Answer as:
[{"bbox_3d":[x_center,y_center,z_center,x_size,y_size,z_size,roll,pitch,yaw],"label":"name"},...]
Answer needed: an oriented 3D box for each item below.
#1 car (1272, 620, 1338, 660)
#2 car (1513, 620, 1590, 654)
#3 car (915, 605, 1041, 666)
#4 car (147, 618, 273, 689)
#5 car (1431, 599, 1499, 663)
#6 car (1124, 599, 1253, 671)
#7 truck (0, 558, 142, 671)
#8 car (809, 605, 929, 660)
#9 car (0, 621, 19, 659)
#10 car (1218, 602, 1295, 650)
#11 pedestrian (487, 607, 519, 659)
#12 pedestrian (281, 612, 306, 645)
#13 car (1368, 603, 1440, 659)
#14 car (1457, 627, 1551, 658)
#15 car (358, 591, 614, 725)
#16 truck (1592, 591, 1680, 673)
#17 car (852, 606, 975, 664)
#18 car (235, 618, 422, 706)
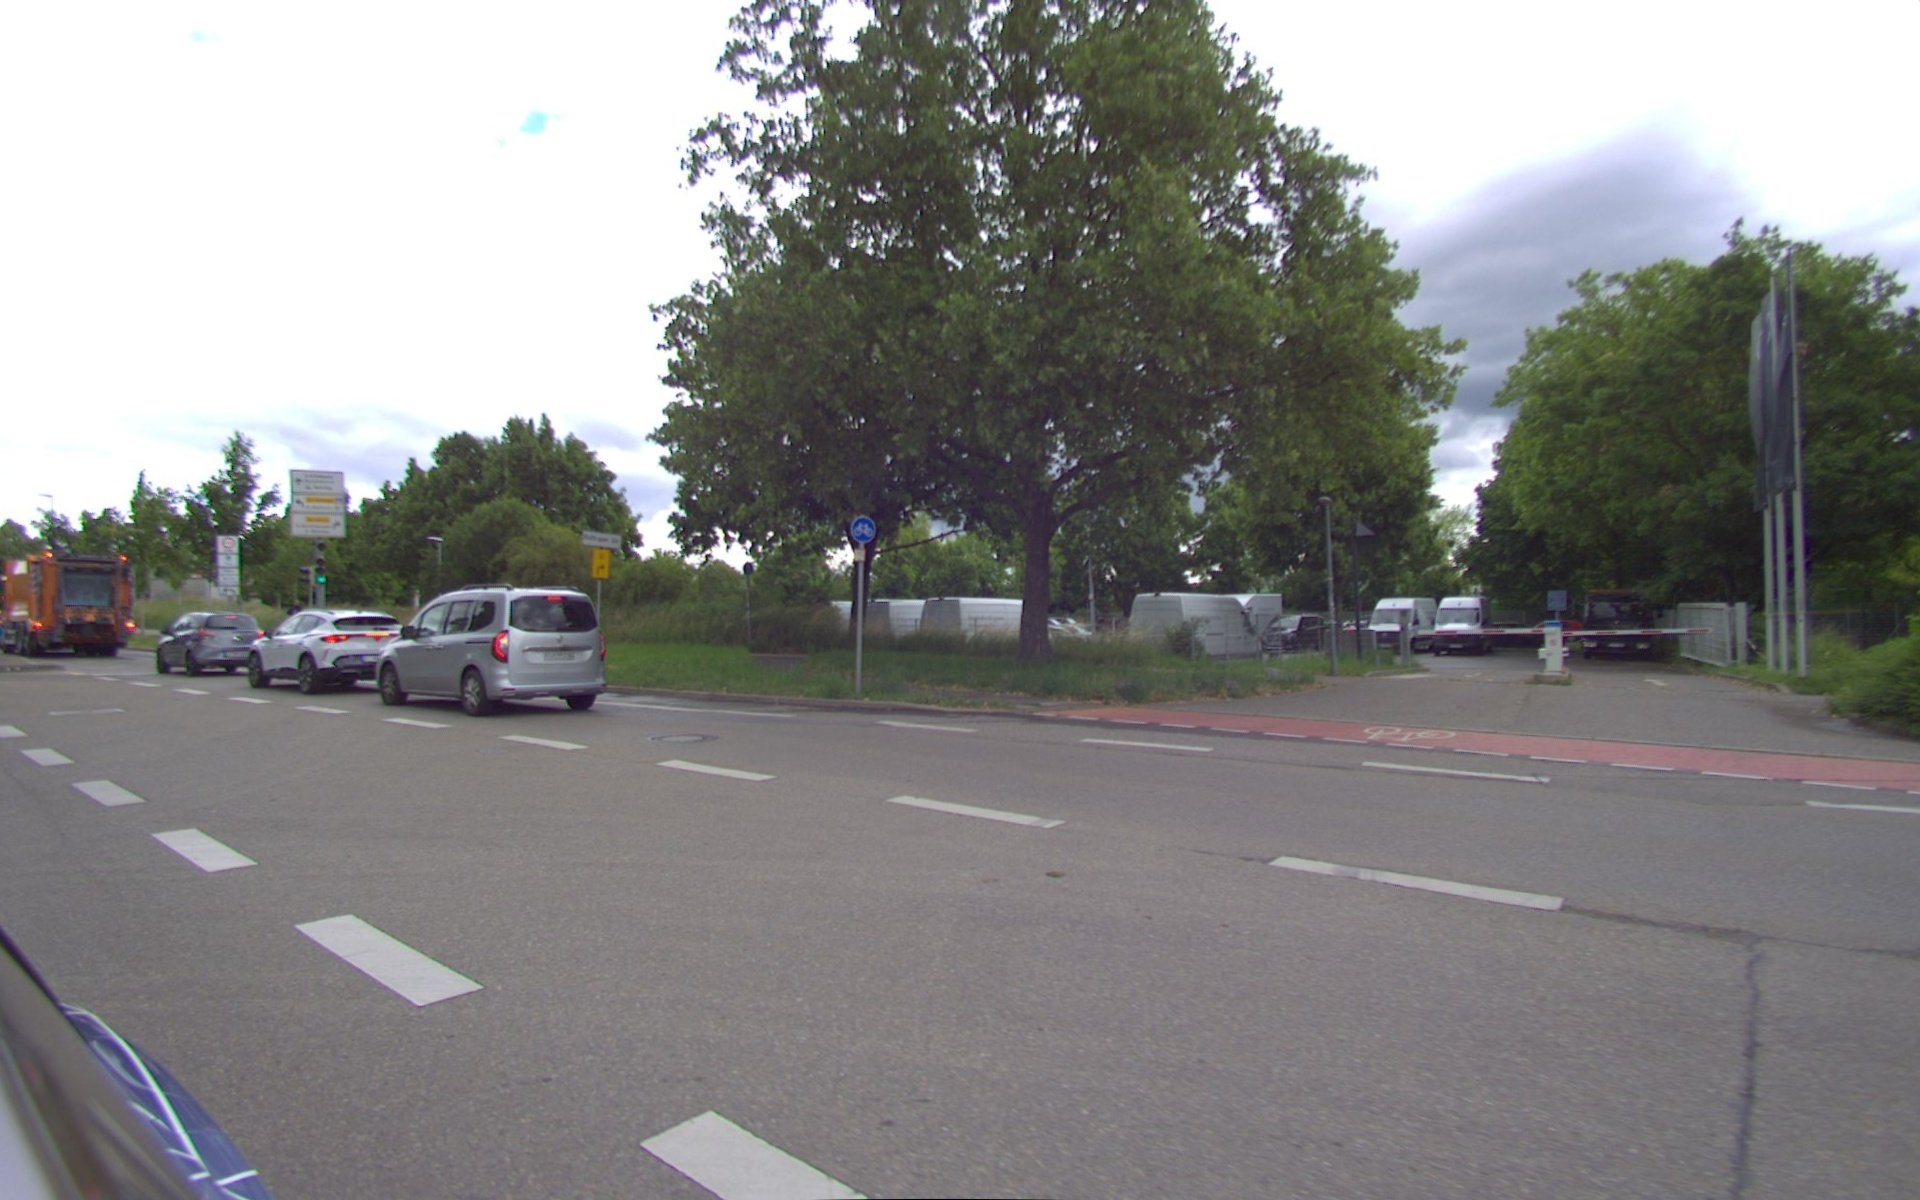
[{"bbox_3d":[17.423,1.955,50.985,1.995,1.820,4.890,0,0,34],"label":"car"},{"bbox_3d":[37.502,2.334,64.229,3.995,2.029,1.885,0,0,39],"label":"car"},{"bbox_3d":[0.756,1.296,36.192,1.737,2.029,5.234,0,-3,37],"label":"car"},{"bbox_3d":[-18.064,1.242,24.340,3.346,1.574,1.619,-2,-2,38],"label":"car"},{"bbox_3d":[23.365,1.332,46.639,1.995,2.706,6.883,0,0,33],"label":"car"},{"bbox_3d":[7.186,1.102,31.365,2.008,2.029,5.236,0,-3,36],"label":"car"},{"bbox_3d":[-30.914,0.518,34.970,7.819,3.507,2.795,-1,-2,41],"label":"truck"},{"bbox_3d":[-3.503,1.302,40.060,1.736,2.029,5.236,0,-3,36],"label":"car"},{"bbox_3d":[-42.687,1.756,44.509,3.349,1.630,1.571,-2,-2,41],"label":"car"},{"bbox_3d":[16.381,1.335,55.566,1.995,2.431,6.880,0,0,35],"label":"car"},{"bbox_3d":[-15.674,1.113,34.709,0.636,1.750,0.750,0,0,29],"label":"pedestrian"},{"bbox_3d":[-30.002,1.286,45.561,0.638,1.458,0.748,0,0,37],"label":"pedestrian"},{"bbox_3d":[21.190,1.390,48.133,1.995,2.431,6.883,0,0,33],"label":"car"},{"bbox_3d":[27.563,2.136,51.292,3.990,1.421,1.977,0,0,35],"label":"car"},{"bbox_3d":[-7.355,0.804,15.523,4.401,1.783,1.810,-1,-1,39],"label":"car"},{"bbox_3d":[27.033,1.164,40.463,2.703,2.992,6.720,0,0,34],"label":"truck"},{"bbox_3d":[-1.673,1.354,38.231,1.736,2.029,5.236,0,-3,36],"label":"car"},{"bbox_3d":[-12.080,1.135,19.277,4.117,1.498,1.712,-1,-3,38],"label":"car"}]
